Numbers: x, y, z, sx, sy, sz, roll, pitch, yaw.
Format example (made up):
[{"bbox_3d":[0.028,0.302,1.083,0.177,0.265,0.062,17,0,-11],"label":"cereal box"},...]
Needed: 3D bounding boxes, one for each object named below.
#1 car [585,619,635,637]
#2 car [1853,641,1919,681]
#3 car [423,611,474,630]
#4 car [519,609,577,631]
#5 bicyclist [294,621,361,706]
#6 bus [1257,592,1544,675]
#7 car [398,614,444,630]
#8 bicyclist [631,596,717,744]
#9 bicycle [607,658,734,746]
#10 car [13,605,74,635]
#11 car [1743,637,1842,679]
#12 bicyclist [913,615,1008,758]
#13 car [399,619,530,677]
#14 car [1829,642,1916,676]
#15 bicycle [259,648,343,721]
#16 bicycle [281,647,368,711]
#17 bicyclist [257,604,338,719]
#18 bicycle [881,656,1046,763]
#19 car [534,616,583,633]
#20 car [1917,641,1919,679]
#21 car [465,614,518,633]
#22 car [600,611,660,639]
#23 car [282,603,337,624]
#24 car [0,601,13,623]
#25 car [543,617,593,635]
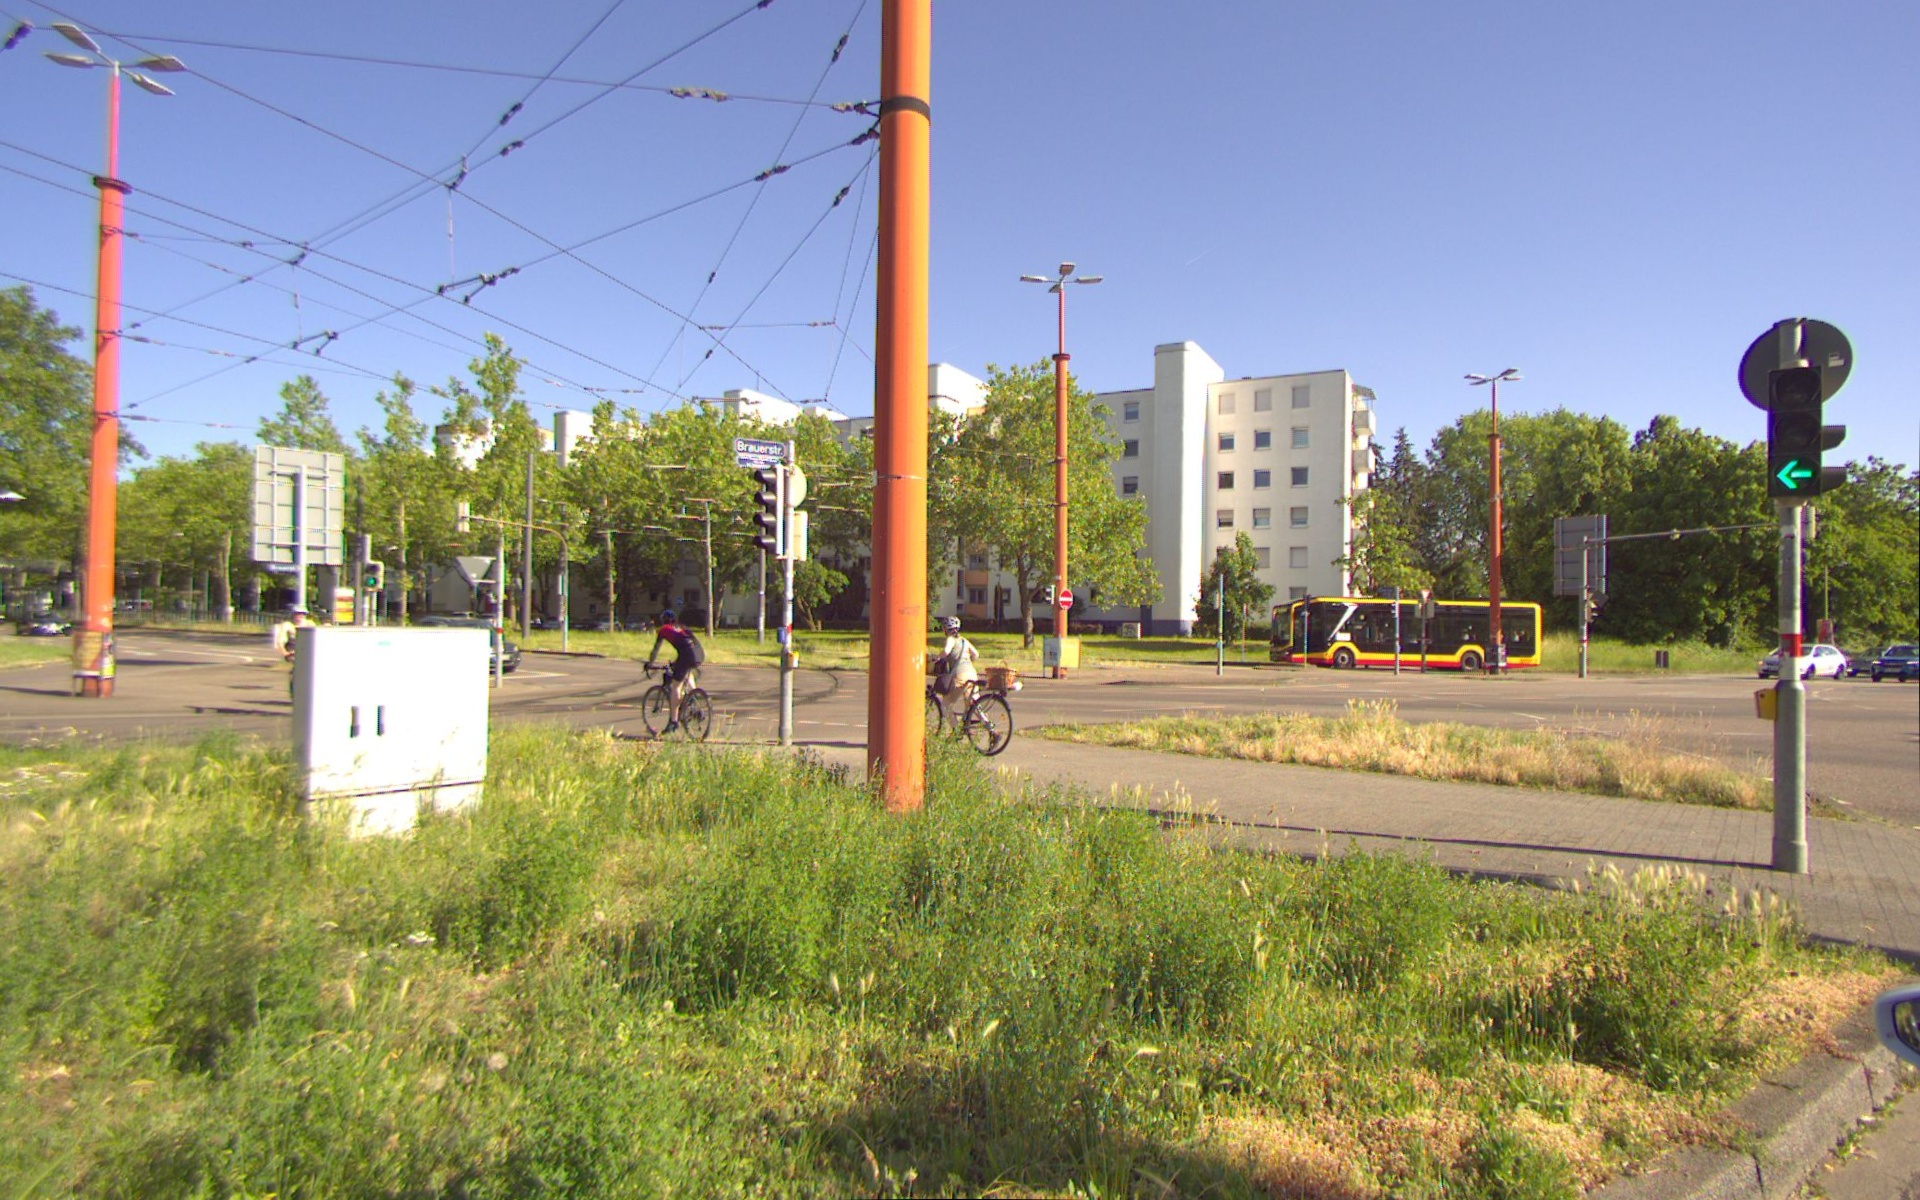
[{"bbox_3d":[-25.870,2.072,74.290,3.279,1.149,1.321,2,0,-11],"label":"car"},{"bbox_3d":[37.197,2.391,39.628,3.813,1.535,1.793,2,-3,-30],"label":"car"},{"bbox_3d":[-43.277,1.768,85.109,3.592,1.480,1.608,2,0,-19],"label":"car"},{"bbox_3d":[-32.575,1.559,79.423,3.868,1.613,1.656,2,0,-8],"label":"car"},{"bbox_3d":[-12.121,1.203,19.246,0.908,1.545,0.719,2,0,32],"label":"bicyclist"},{"bbox_3d":[20.427,1.536,46.972,12.292,3.304,2.654,2,0,-2],"label":"bus"},{"bbox_3d":[-46.642,1.916,86.969,3.370,1.204,1.439,2,0,-23],"label":"car"},{"bbox_3d":[-3.905,0.936,13.703,0.976,1.938,0.684,-2,-2,38],"label":"bicyclist"},{"bbox_3d":[-3.981,1.357,13.733,1.886,1.085,0.689,-2,-2,38],"label":"bicycle"},{"bbox_3d":[-50.087,1.083,54.872,3.940,1.516,1.909,0,-2,40],"label":"car"},{"bbox_3d":[35.271,2.460,42.553,4.168,1.673,1.869,2,-3,-29],"label":"car"},{"bbox_3d":[0.018,1.014,12.224,0.813,1.643,0.891,0,-1,30],"label":"bicyclist"},{"bbox_3d":[-15.331,1.439,31.057,3.977,1.516,1.913,2,0,34],"label":"car"},{"bbox_3d":[43.048,2.787,47.383,3.952,1.533,1.877,2,-3,-29],"label":"car"},{"bbox_3d":[-11.354,1.420,17.277,1.885,1.086,0.577,2,0,37],"label":"bicycle"},{"bbox_3d":[-12.204,1.487,19.271,1.882,1.086,0.578,2,0,31],"label":"bicycle"},{"bbox_3d":[-11.394,1.032,17.287,0.910,1.892,0.889,2,0,39],"label":"bicyclist"},{"bbox_3d":[0.029,1.292,12.222,1.881,1.146,0.739,0,-1,30],"label":"bicycle"},{"bbox_3d":[-30.928,1.913,77.424,3.346,1.162,1.305,2,0,-13],"label":"car"},{"bbox_3d":[42.512,2.562,42.568,3.955,1.575,1.891,2,-3,-32],"label":"car"},{"bbox_3d":[-38.862,1.945,83.389,3.665,1.349,1.496,2,0,-8],"label":"car"},{"bbox_3d":[-23.707,1.785,72.270,3.874,1.841,1.651,2,0,-13],"label":"car"},{"bbox_3d":[-66.287,1.386,102.409,4.274,2.010,1.932,1,-1,-19],"label":"car"},{"bbox_3d":[-70.880,0.868,73.561,3.943,1.516,1.908,2,0,42],"label":"car"},{"bbox_3d":[-29.365,1.948,75.324,3.219,1.172,1.358,2,0,-12],"label":"car"}]
